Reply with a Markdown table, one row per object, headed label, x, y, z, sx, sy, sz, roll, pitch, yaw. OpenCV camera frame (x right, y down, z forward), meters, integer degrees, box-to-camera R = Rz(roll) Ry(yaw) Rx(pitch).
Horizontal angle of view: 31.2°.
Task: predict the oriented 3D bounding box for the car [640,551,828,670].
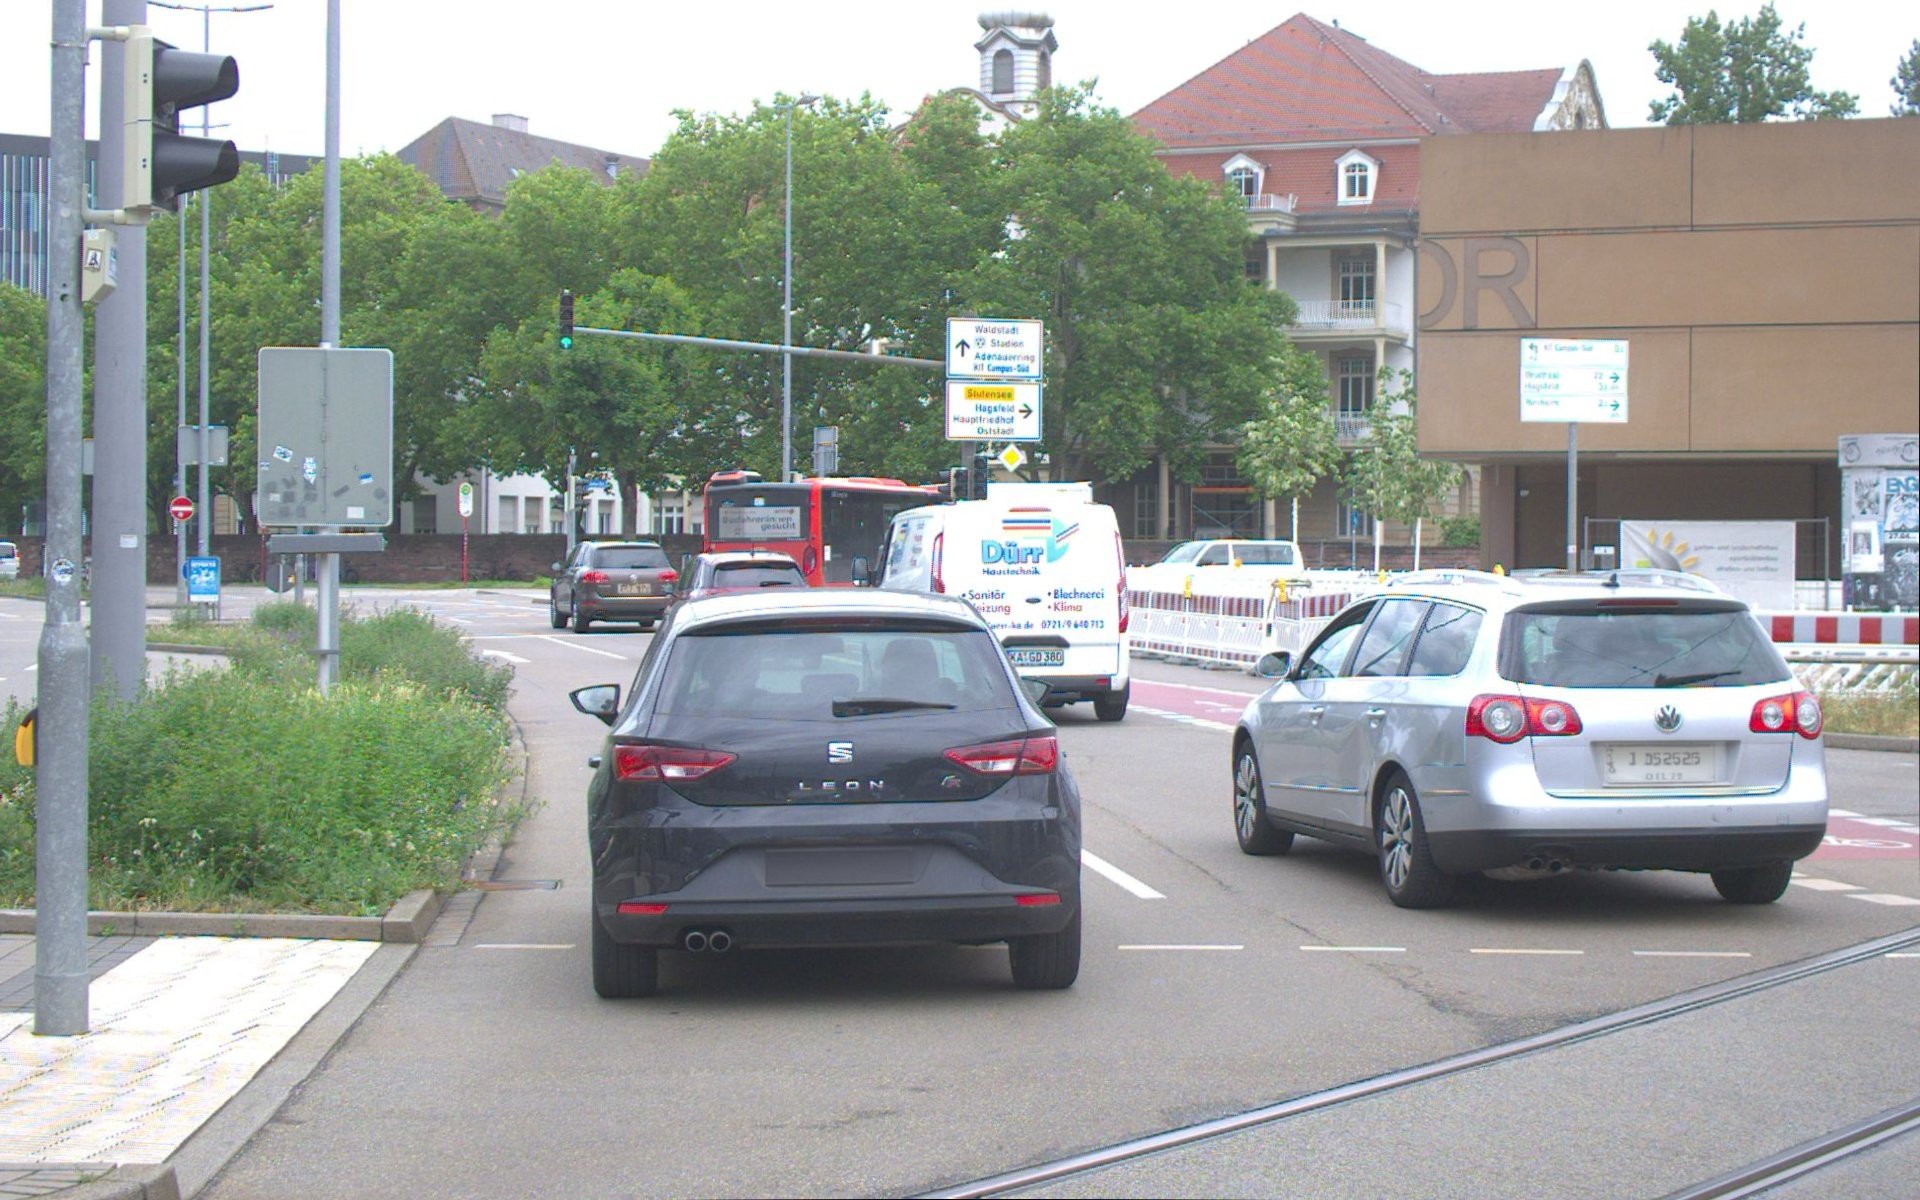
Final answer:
| label | x | y | z | sx | sy | sz | roll | pitch | yaw |
| --- | --- | --- | --- | --- | --- | --- | --- | --- | --- |
| car | -3.267 | 0.133 | 48.954 | 1.857 | 1.595 | 4.206 | 1 | 0 | -15 |

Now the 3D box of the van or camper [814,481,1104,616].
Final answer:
| label | x | y | z | sx | sy | sz | roll | pitch | yaw |
| --- | --- | --- | --- | --- | --- | --- | --- | --- | --- |
| van or camper | 0.004 | -1.292 | 89.951 | 7.129 | 3.321 | 2.876 | 1 | -1 | -31 |

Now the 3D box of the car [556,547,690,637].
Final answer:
| label | x | y | z | sx | sy | sz | roll | pitch | yaw |
| --- | --- | --- | --- | --- | --- | --- | --- | --- | --- |
| car | -6.260 | -0.155 | 63.439 | 1.993 | 1.560 | 4.206 | 1 | 0 | -12 |

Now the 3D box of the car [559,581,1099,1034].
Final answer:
| label | x | y | z | sx | sy | sz | roll | pitch | yaw |
| --- | --- | --- | --- | --- | --- | --- | --- | --- | --- |
| car | -0.656 | 0.669 | 13.355 | 1.745 | 1.459 | 4.001 | -1 | 0 | -7 |

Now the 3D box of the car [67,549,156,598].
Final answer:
| label | x | y | z | sx | sy | sz | roll | pitch | yaw |
| --- | --- | --- | --- | --- | --- | --- | --- | --- | --- |
| car | -30.311 | -0.951 | 122.742 | 1.917 | 1.678 | 4.000 | 0 | 1 | -32 |

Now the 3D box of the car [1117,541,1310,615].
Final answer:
| label | x | y | z | sx | sy | sz | roll | pitch | yaw |
| --- | --- | --- | --- | --- | --- | --- | --- | --- | --- |
| car | 6.956 | -0.586 | 94.075 | 4.988 | 1.858 | 2.000 | 1 | -3 | -31 |

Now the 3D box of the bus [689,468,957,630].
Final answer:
| label | x | y | z | sx | sy | sz | roll | pitch | yaw |
| --- | --- | --- | --- | --- | --- | --- | --- | --- | --- |
| bus | -2.843 | -1.026 | 77.118 | 3.060 | 3.286 | 12.372 | 1 | 0 | 12 |

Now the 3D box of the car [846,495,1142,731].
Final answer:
| label | x | y | z | sx | sy | sz | roll | pitch | yaw |
| --- | --- | --- | --- | --- | --- | --- | --- | --- | --- |
| car | 0.220 | 0.101 | 32.178 | 1.993 | 2.012 | 5.033 | 1 | 0 | -8 |

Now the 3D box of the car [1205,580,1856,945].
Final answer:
| label | x | y | z | sx | sy | sz | roll | pitch | yaw |
| --- | --- | --- | --- | --- | --- | --- | --- | --- | --- |
| car | 2.520 | 0.648 | 16.414 | 1.720 | 1.477 | 4.629 | 0 | 0 | -9 |

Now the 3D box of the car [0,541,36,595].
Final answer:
| label | x | y | z | sx | sy | sz | roll | pitch | yaw |
| --- | --- | --- | --- | --- | --- | --- | --- | --- | --- |
| car | -36.754 | -1.235 | 130.597 | 1.994 | 2.007 | 4.000 | 0 | 1 | -34 |
